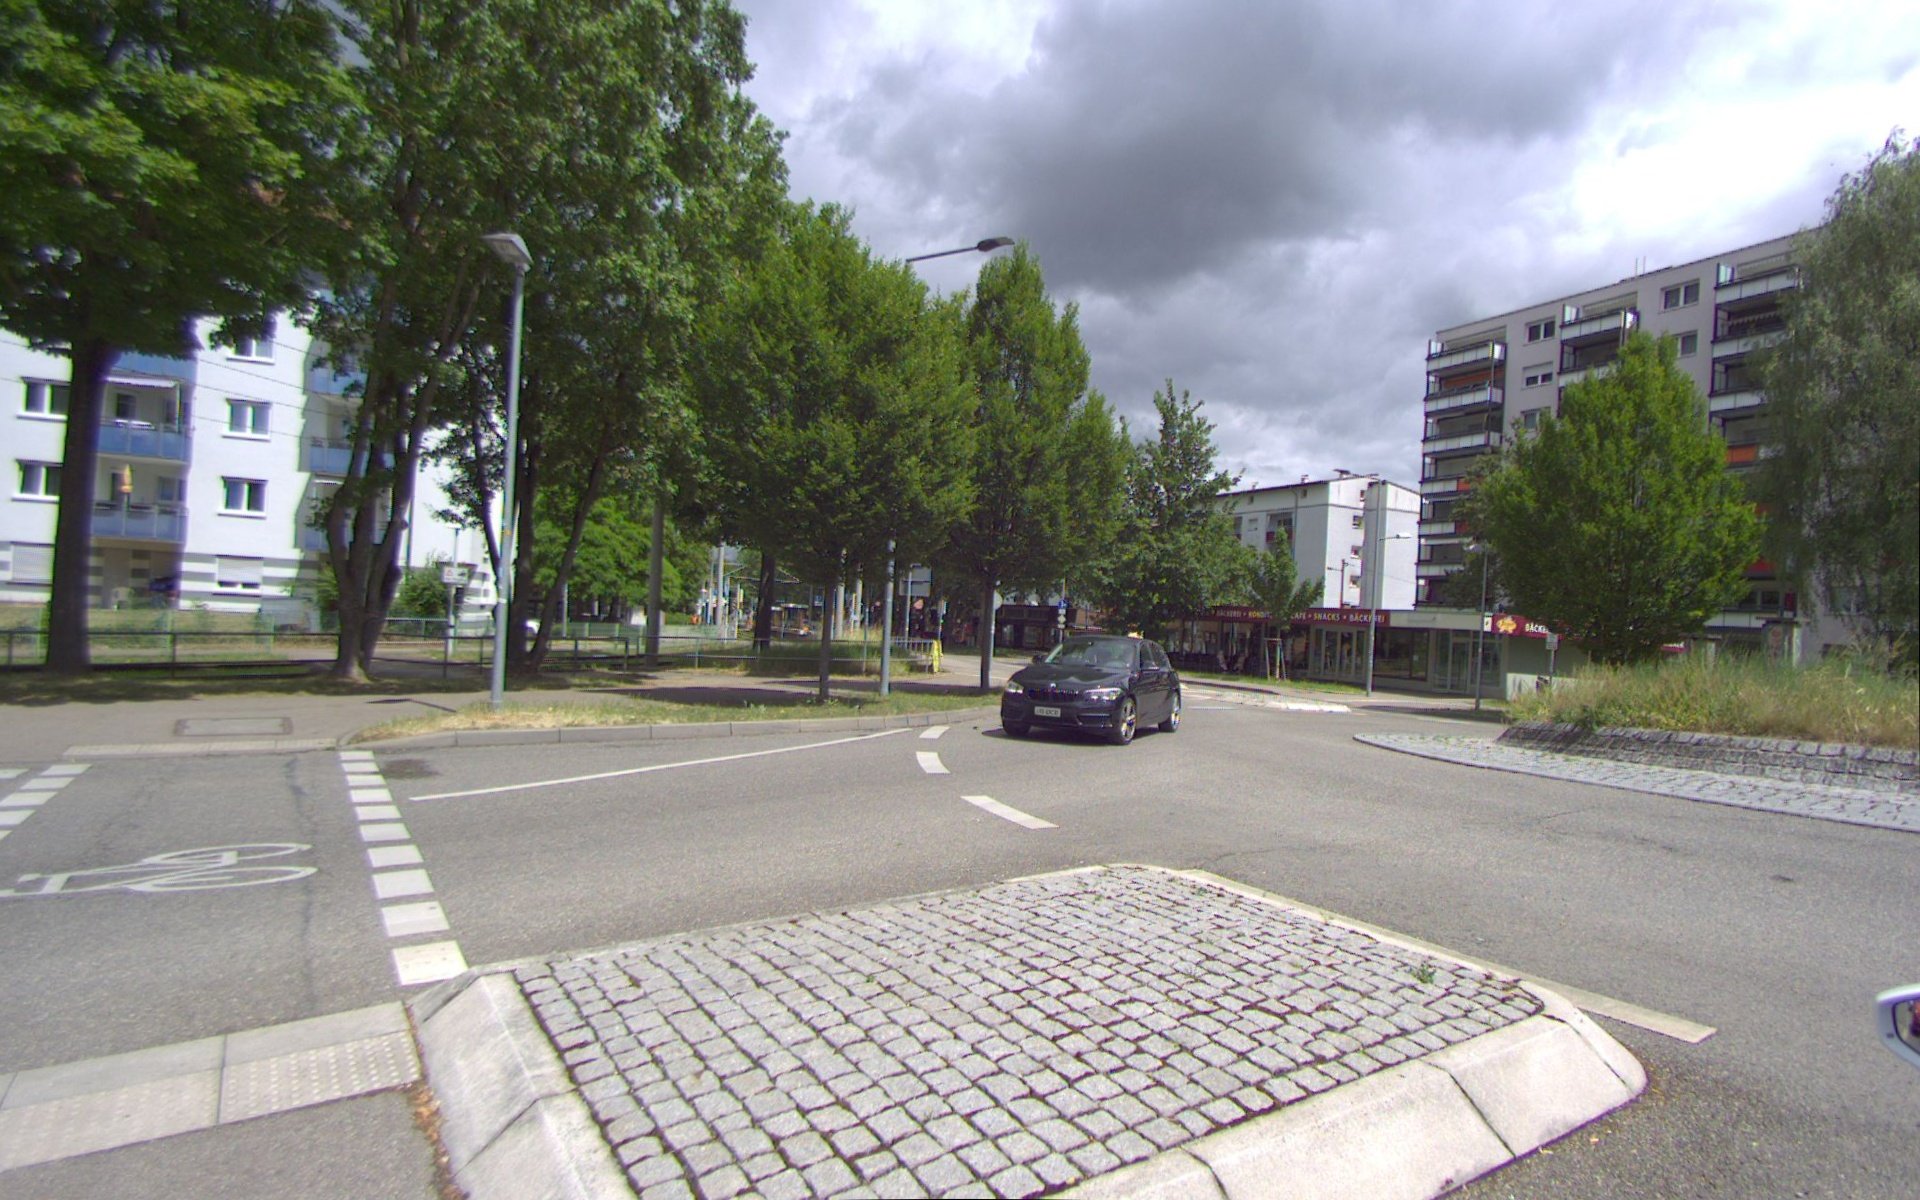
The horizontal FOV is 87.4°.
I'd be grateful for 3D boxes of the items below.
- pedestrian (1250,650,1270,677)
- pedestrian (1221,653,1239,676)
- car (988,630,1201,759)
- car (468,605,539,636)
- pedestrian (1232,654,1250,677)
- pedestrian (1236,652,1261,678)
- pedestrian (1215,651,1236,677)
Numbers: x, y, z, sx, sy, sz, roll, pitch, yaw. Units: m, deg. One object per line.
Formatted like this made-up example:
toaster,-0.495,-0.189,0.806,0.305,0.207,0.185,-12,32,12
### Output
pedestrian,16.151,3.419,54.068,0.709,1.399,0.696,3,-2,-19
pedestrian,14.837,3.550,55.165,0.707,1.217,0.697,3,-2,-12
car,2.151,1.239,14.827,1.824,1.474,4.385,4,0,25
car,-29.543,1.329,65.154,3.940,1.832,1.991,3,-2,-20
pedestrian,15.443,3.589,55.202,0.707,1.217,0.697,3,-2,-12
pedestrian,15.409,3.469,53.647,0.869,1.342,0.817,3,1,-26
pedestrian,14.335,3.452,54.157,0.866,1.342,0.608,3,-2,-18
